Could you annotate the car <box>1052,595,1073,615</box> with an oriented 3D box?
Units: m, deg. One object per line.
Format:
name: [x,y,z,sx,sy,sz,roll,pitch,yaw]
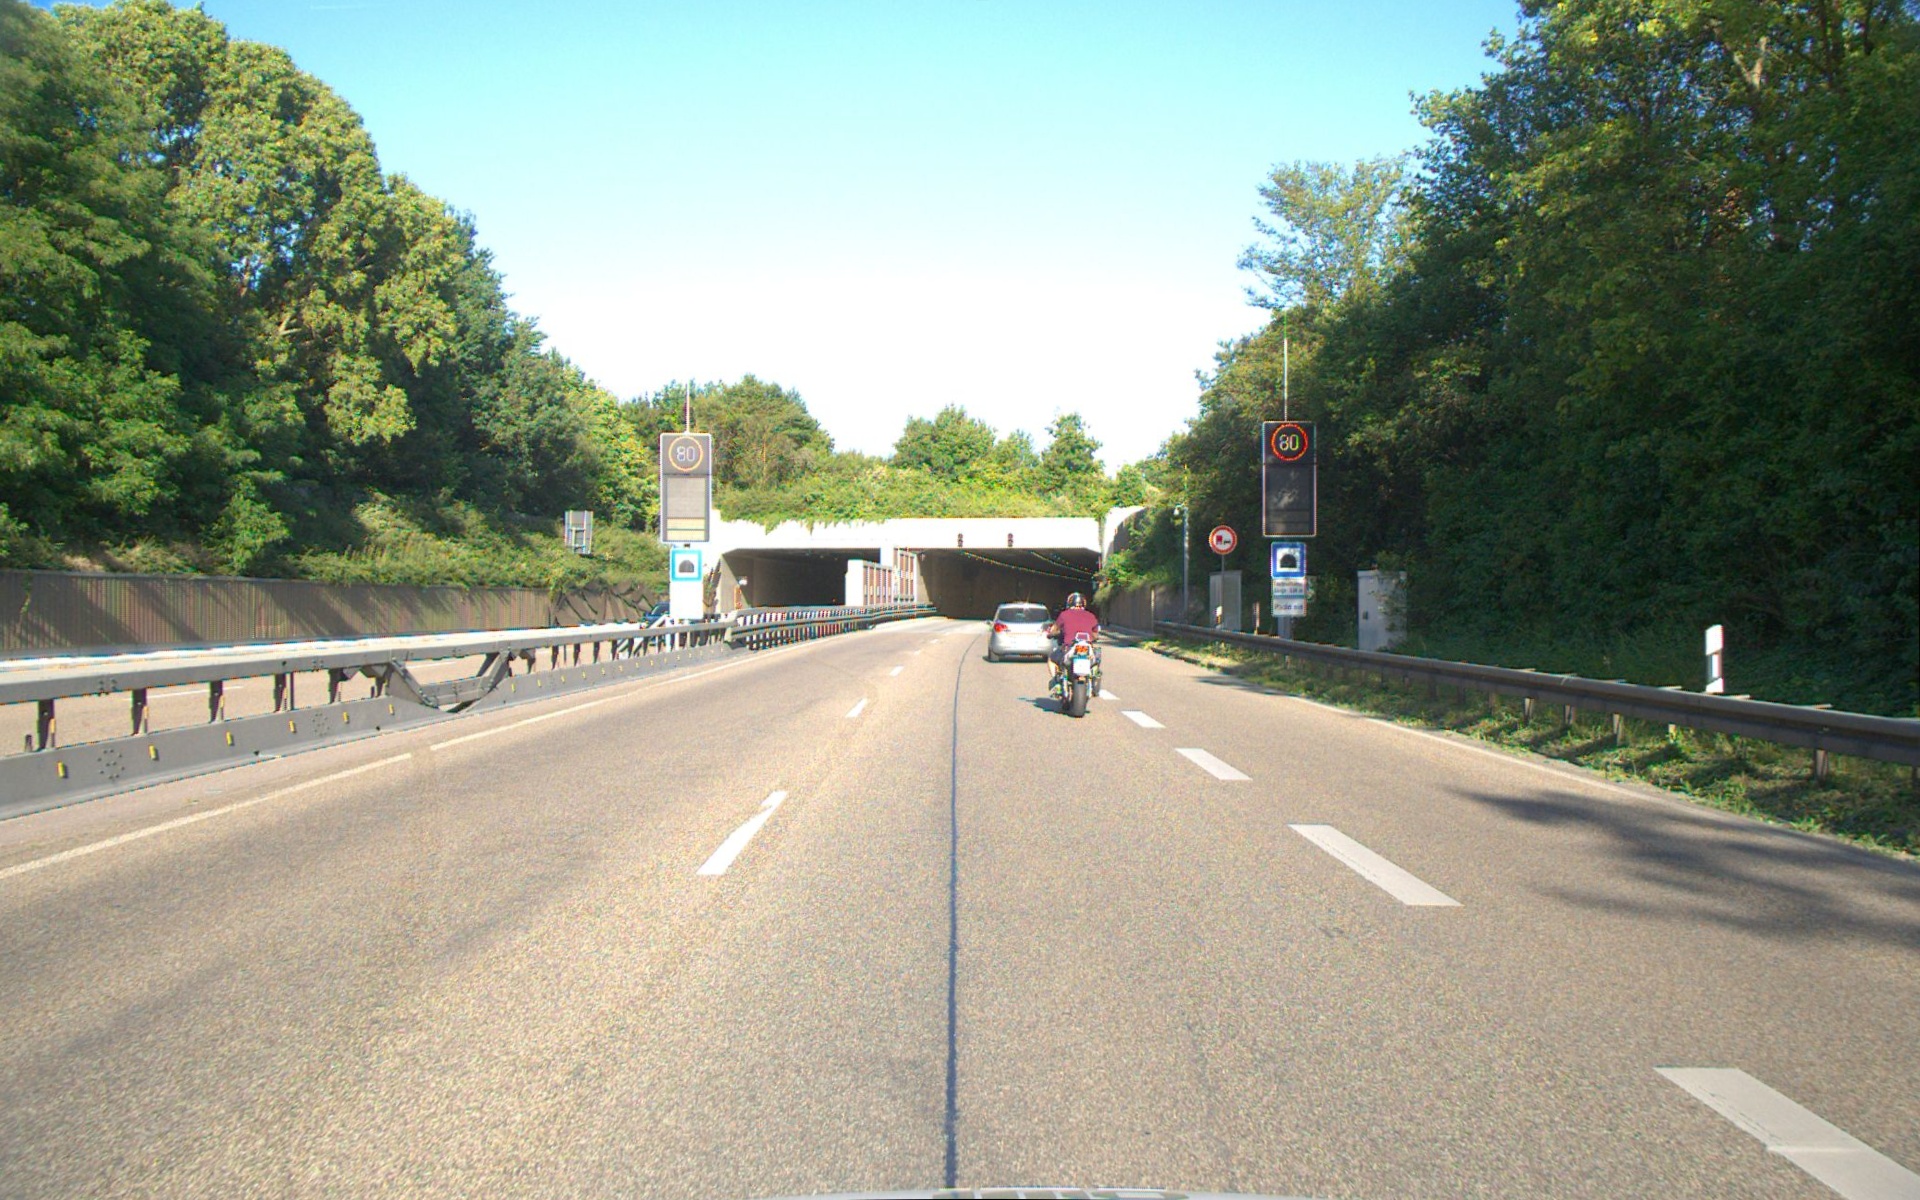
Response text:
car: [10.123,0.479,162.819,1.951,1.959,4.003,0,0,5]

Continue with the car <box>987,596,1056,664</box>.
car: [1.546,0.744,42.659,1.633,1.579,4.001,1,1,1]

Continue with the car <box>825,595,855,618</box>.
car: [-9.232,0.488,127.429,1.632,1.704,4.866,1,1,4]

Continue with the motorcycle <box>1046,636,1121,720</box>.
motorcycle: [1.659,1.030,22.626,0.841,1.009,2.728,1,0,1]

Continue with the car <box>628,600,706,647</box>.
car: [-10.315,0.814,58.499,1.952,1.512,4.200,0,1,1]

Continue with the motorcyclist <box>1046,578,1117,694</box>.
motorcyclist: [1.655,0.472,22.615,0.865,1.527,1.063,1,1,0]

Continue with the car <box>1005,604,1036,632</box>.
car: [4.353,1.281,119.413,1.953,1.959,3.999,0,0,-1]
